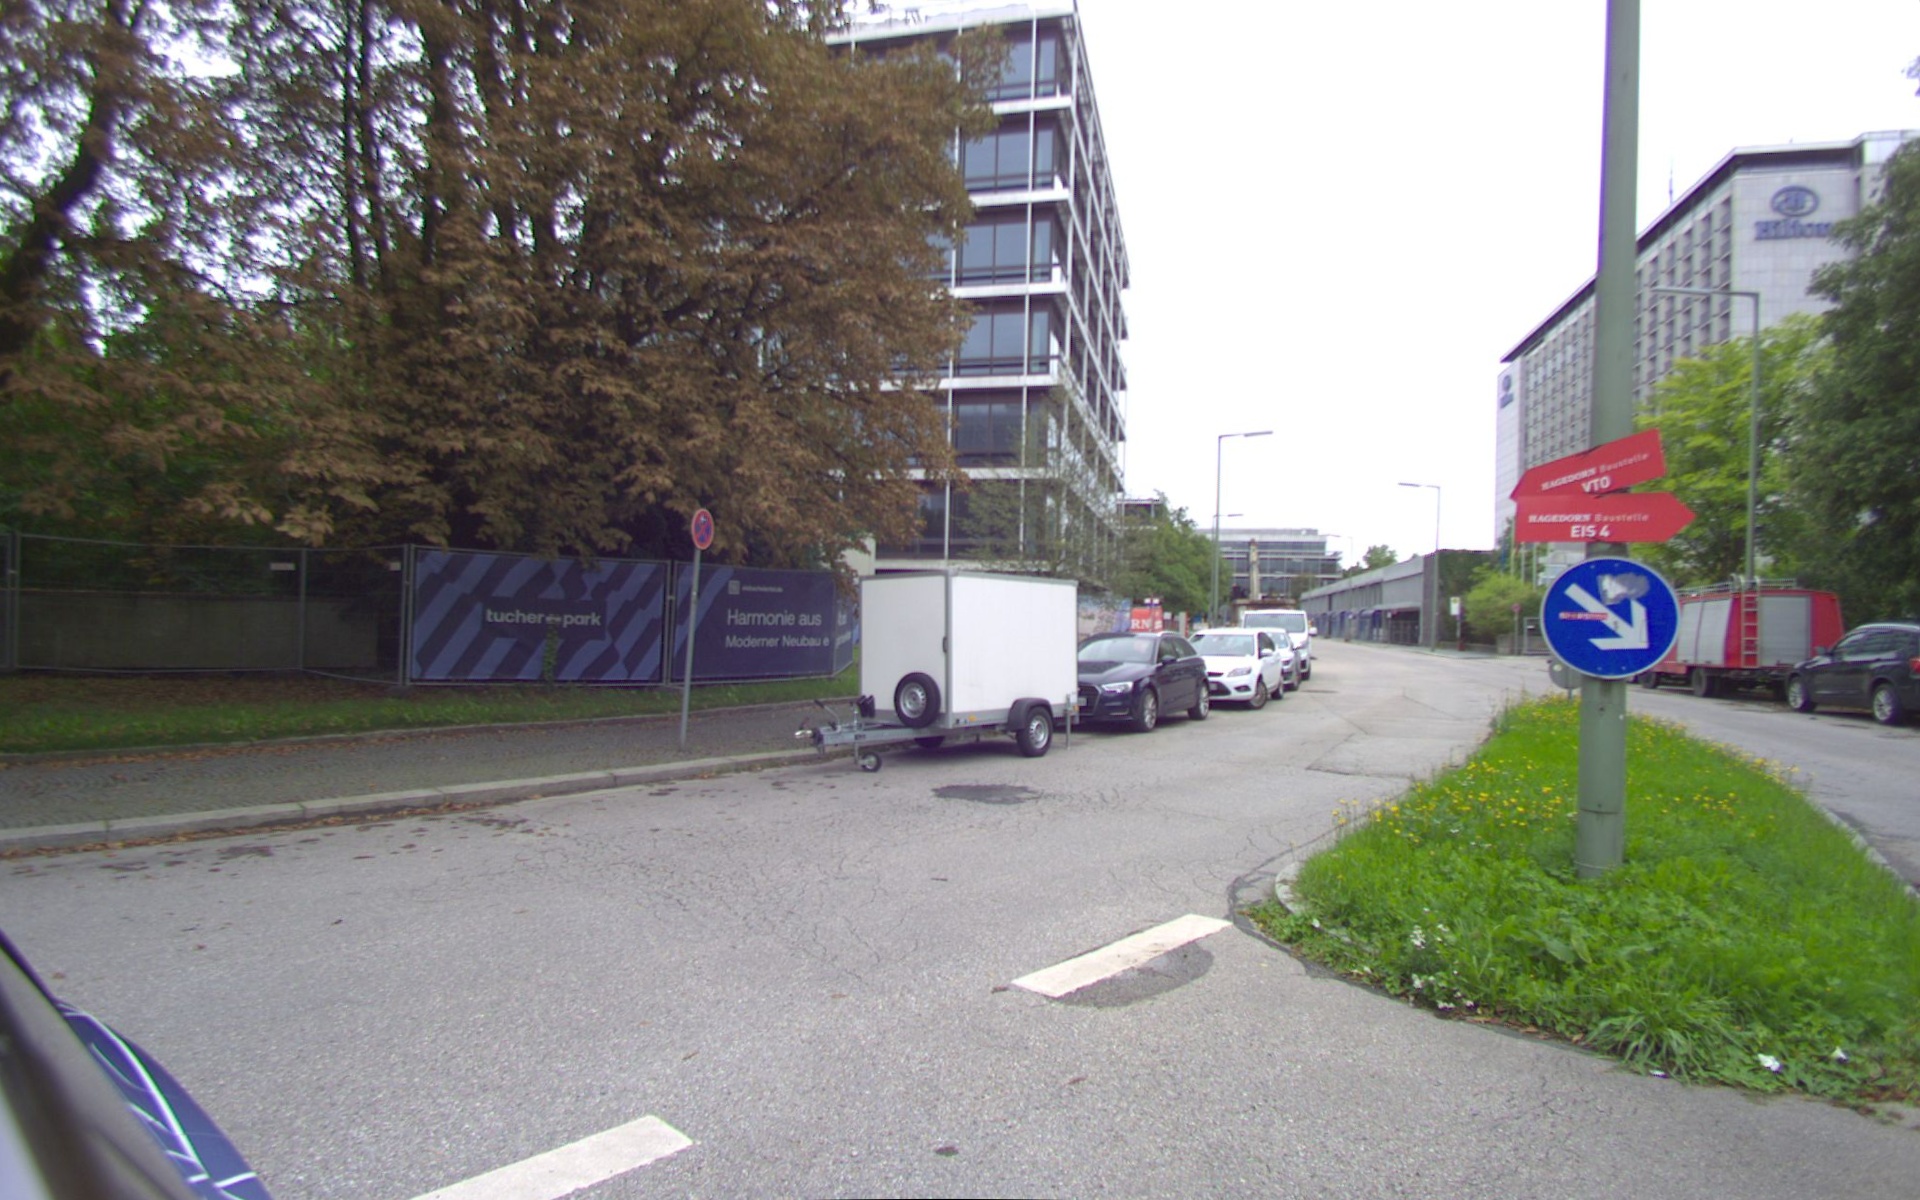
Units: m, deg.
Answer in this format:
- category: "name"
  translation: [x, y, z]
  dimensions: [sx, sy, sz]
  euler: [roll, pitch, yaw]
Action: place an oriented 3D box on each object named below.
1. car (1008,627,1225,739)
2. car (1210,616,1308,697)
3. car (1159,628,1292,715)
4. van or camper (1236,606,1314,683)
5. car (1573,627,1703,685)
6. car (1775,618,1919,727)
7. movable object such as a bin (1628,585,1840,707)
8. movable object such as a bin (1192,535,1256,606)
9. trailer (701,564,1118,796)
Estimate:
- category: "car"
  translation: [2.557, 1.166, 15.604]
  dimensions: [1.871, 1.448, 4.283]
  euler: [0, -2, 30]
- category: "car"
  translation: [7.380, 1.286, 24.727]
  dimensions: [1.985, 1.741, 4.419]
  euler: [1, -1, 20]
- category: "car"
  translation: [5.371, 1.320, 20.123]
  dimensions: [1.763, 1.497, 4.183]
  euler: [1, -1, 26]
- category: "van or camper"
  translation: [9.312, 1.227, 29.771]
  dimensions: [1.984, 2.029, 5.342]
  euler: [1, -1, 19]
- category: "car"
  translation: [20.434, 1.628, 30.713]
  dimensions: [1.763, 1.561, 4.241]
  euler: [1, -1, 12]
- category: "car"
  translation: [16.043, 1.170, 17.228]
  dimensions: [1.766, 1.662, 4.436]
  euler: [1, -1, 16]
- category: "movable object such as a bin"
  translation: [17.978, 1.007, 23.950]
  dimensions: [2.094, 2.477, 6.147]
  euler: [1, -1, 19]
- category: "movable object such as a bin"
  translation: [15.205, -1.561, 58.832]
  dimensions: [3.219, 3.745, 8.971]
  euler: [1, -1, 13]
- category: "trailer"
  translation: [-0.314, 0.738, 11.250]
  dimensions: [1.814, 2.029, 4.767]
  euler: [0, -1, 41]
